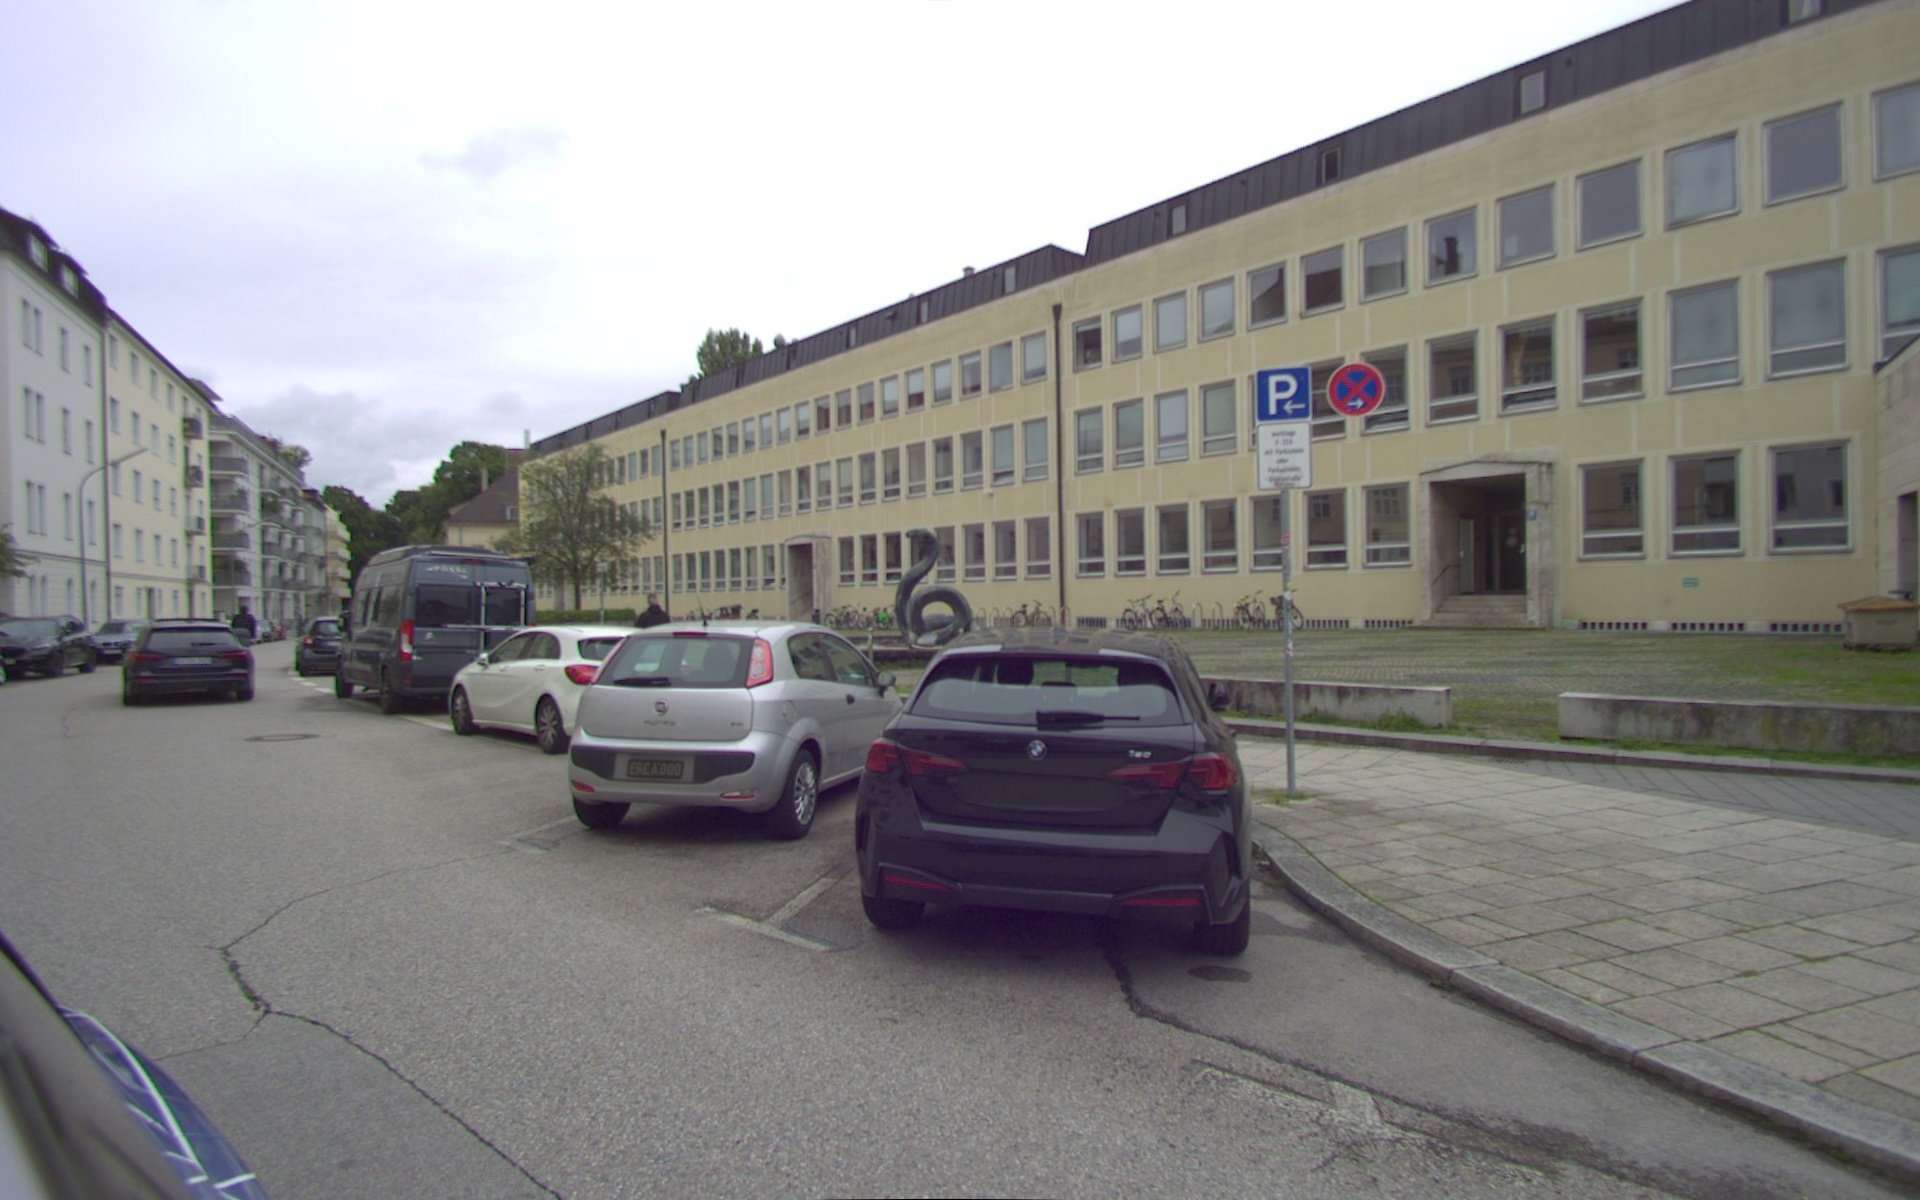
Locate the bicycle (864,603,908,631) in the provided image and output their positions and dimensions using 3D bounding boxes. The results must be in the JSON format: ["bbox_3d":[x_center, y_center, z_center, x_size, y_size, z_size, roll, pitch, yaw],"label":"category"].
[{"bbox_3d":[-3.179,0.730,43.518,1.824,1.104,0.703,-3,1,-44],"label":"bicycle"}]

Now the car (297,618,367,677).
[{"bbox_3d":[-16.720,1.216,26.939,1.498,1.477,2.895,1,-2,-32],"label":"car"}]

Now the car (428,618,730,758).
[{"bbox_3d":[-4.926,0.972,12.802,4.216,1.462,1.971,-1,-2,44],"label":"car"}]

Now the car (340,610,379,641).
[{"bbox_3d":[-34.148,1.417,57.628,1.690,1.702,4.154,1,-1,-27],"label":"car"}]

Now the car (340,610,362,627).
[{"bbox_3d":[-74.556,2.270,123.994,1.827,2.046,4.798,-2,0,-26],"label":"car"}]

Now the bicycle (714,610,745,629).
[{"bbox_3d":[-12.335,1.043,54.179,0.503,0.952,1.588,-2,1,38],"label":"bicycle"}]

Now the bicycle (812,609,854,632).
[{"bbox_3d":[-5.769,0.929,45.957,1.927,0.952,0.415,-3,1,-40],"label":"bicycle"}]

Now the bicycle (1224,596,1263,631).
[{"bbox_3d":[8.526,0.402,30.412,1.454,0.952,0.414,-3,1,-44],"label":"bicycle"}]

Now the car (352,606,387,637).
[{"bbox_3d":[-38.947,1.399,66.798,1.888,1.975,4.977,1,-2,-29],"label":"car"}]

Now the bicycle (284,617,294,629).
[{"bbox_3d":[-67.500,2.326,101.848,0.561,1.106,1.816,2,-2,-26],"label":"bicycle"}]

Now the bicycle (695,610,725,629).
[{"bbox_3d":[-13.840,1.061,56.031,0.503,0.952,1.586,-2,1,44],"label":"bicycle"}]

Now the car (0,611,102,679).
[{"bbox_3d":[-26.547,1.241,28.800,2.139,1.752,5.040,-2,0,-27],"label":"car"}]

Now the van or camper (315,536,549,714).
[{"bbox_3d":[-9.472,0.420,17.821,2.269,2.601,6.094,1,-2,-41],"label":"van or camper"}]

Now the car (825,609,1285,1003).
[{"bbox_3d":[0.769,0.805,5.881,1.796,1.432,3.981,0,-1,13],"label":"car"}]

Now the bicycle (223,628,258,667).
[{"bbox_3d":[-20.583,1.340,28.938,0.578,1.078,1.939,2,-2,-41],"label":"bicycle"}]

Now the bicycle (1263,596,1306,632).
[{"bbox_3d":[9.413,0.404,29.293,1.687,0.952,0.414,-3,1,-44],"label":"bicycle"}]

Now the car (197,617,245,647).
[{"bbox_3d":[-40.786,1.734,55.940,1.628,1.555,4.006,-2,0,-29],"label":"car"}]

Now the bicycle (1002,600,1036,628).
[{"bbox_3d":[2.210,0.522,37.730,1.391,0.952,0.414,-3,1,-44],"label":"bicycle"}]

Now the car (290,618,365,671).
[{"bbox_3d":[-18.919,1.278,30.268,1.749,1.477,4.479,1,-2,-32],"label":"car"}]

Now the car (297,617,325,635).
[{"bbox_3d":[-57.891,2.311,90.308,1.746,1.487,4.231,-2,0,-29],"label":"car"}]

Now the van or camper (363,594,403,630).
[{"bbox_3d":[-44.650,0.929,78.425,2.260,2.671,5.579,1,-1,-26],"label":"van or camper"}]

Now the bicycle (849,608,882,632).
[{"bbox_3d":[-4.153,0.879,44.610,1.387,0.952,0.415,-3,1,-31],"label":"bicycle"}]

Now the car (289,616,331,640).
[{"bbox_3d":[-44.858,1.914,69.901,1.966,1.541,4.013,-2,0,-27],"label":"car"}]

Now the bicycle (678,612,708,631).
[{"bbox_3d":[-15.263,1.223,57.802,0.503,0.952,1.586,-2,1,44],"label":"bicycle"}]

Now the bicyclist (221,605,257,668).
[{"bbox_3d":[-20.629,1.048,28.963,0.735,1.785,0.816,2,-3,-41],"label":"bicyclist"}]

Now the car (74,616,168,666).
[{"bbox_3d":[-31.165,1.481,37.730,1.821,1.676,4.512,-2,0,-29],"label":"car"}]

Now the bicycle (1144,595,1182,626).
[{"bbox_3d":[6.615,0.339,32.971,1.454,0.952,0.414,-3,1,-44],"label":"bicycle"}]

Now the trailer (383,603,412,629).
[{"bbox_3d":[-54.729,1.560,98.525,1.948,2.490,4.592,2,-1,-23],"label":"trailer"}]

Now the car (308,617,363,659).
[{"bbox_3d":[-23.779,1.407,38.616,1.608,1.506,4.288,0,-1,-30],"label":"car"}]

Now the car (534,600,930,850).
[{"bbox_3d":[-1.528,0.806,8.227,1.697,1.519,3.794,0,-1,12],"label":"car"}]

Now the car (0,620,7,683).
[{"bbox_3d":[-24.124,1.298,23.900,1.492,1.566,3.028,-2,0,-26],"label":"car"}]

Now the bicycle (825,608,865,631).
[{"bbox_3d":[-5.174,0.878,45.470,1.835,0.952,0.415,-3,1,-40],"label":"bicycle"}]

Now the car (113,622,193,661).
[{"bbox_3d":[-33.424,1.684,42.016,1.802,1.461,4.097,-2,0,-27],"label":"car"}]

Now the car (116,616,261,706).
[{"bbox_3d":[-14.343,1.030,18.719,1.896,1.423,4.712,2,-2,-40],"label":"car"}]

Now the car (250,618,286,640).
[{"bbox_3d":[-47.712,1.981,69.838,1.632,1.440,3.768,-2,0,-28],"label":"car"}]

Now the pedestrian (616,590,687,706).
[{"bbox_3d":[-5.183,0.782,16.999,0.712,1.880,0.835,-2,0,34],"label":"pedestrian"}]

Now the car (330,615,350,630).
[{"bbox_3d":[-67.878,2.417,110.798,1.641,1.478,4.390,-1,1,-29],"label":"car"}]

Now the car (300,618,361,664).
[{"bbox_3d":[-21.691,1.390,34.982,1.608,1.506,3.615,1,-2,-30],"label":"car"}]

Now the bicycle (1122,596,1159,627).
[{"bbox_3d":[5.998,0.365,33.536,1.454,0.952,0.414,-3,1,-44],"label":"bicycle"}]
